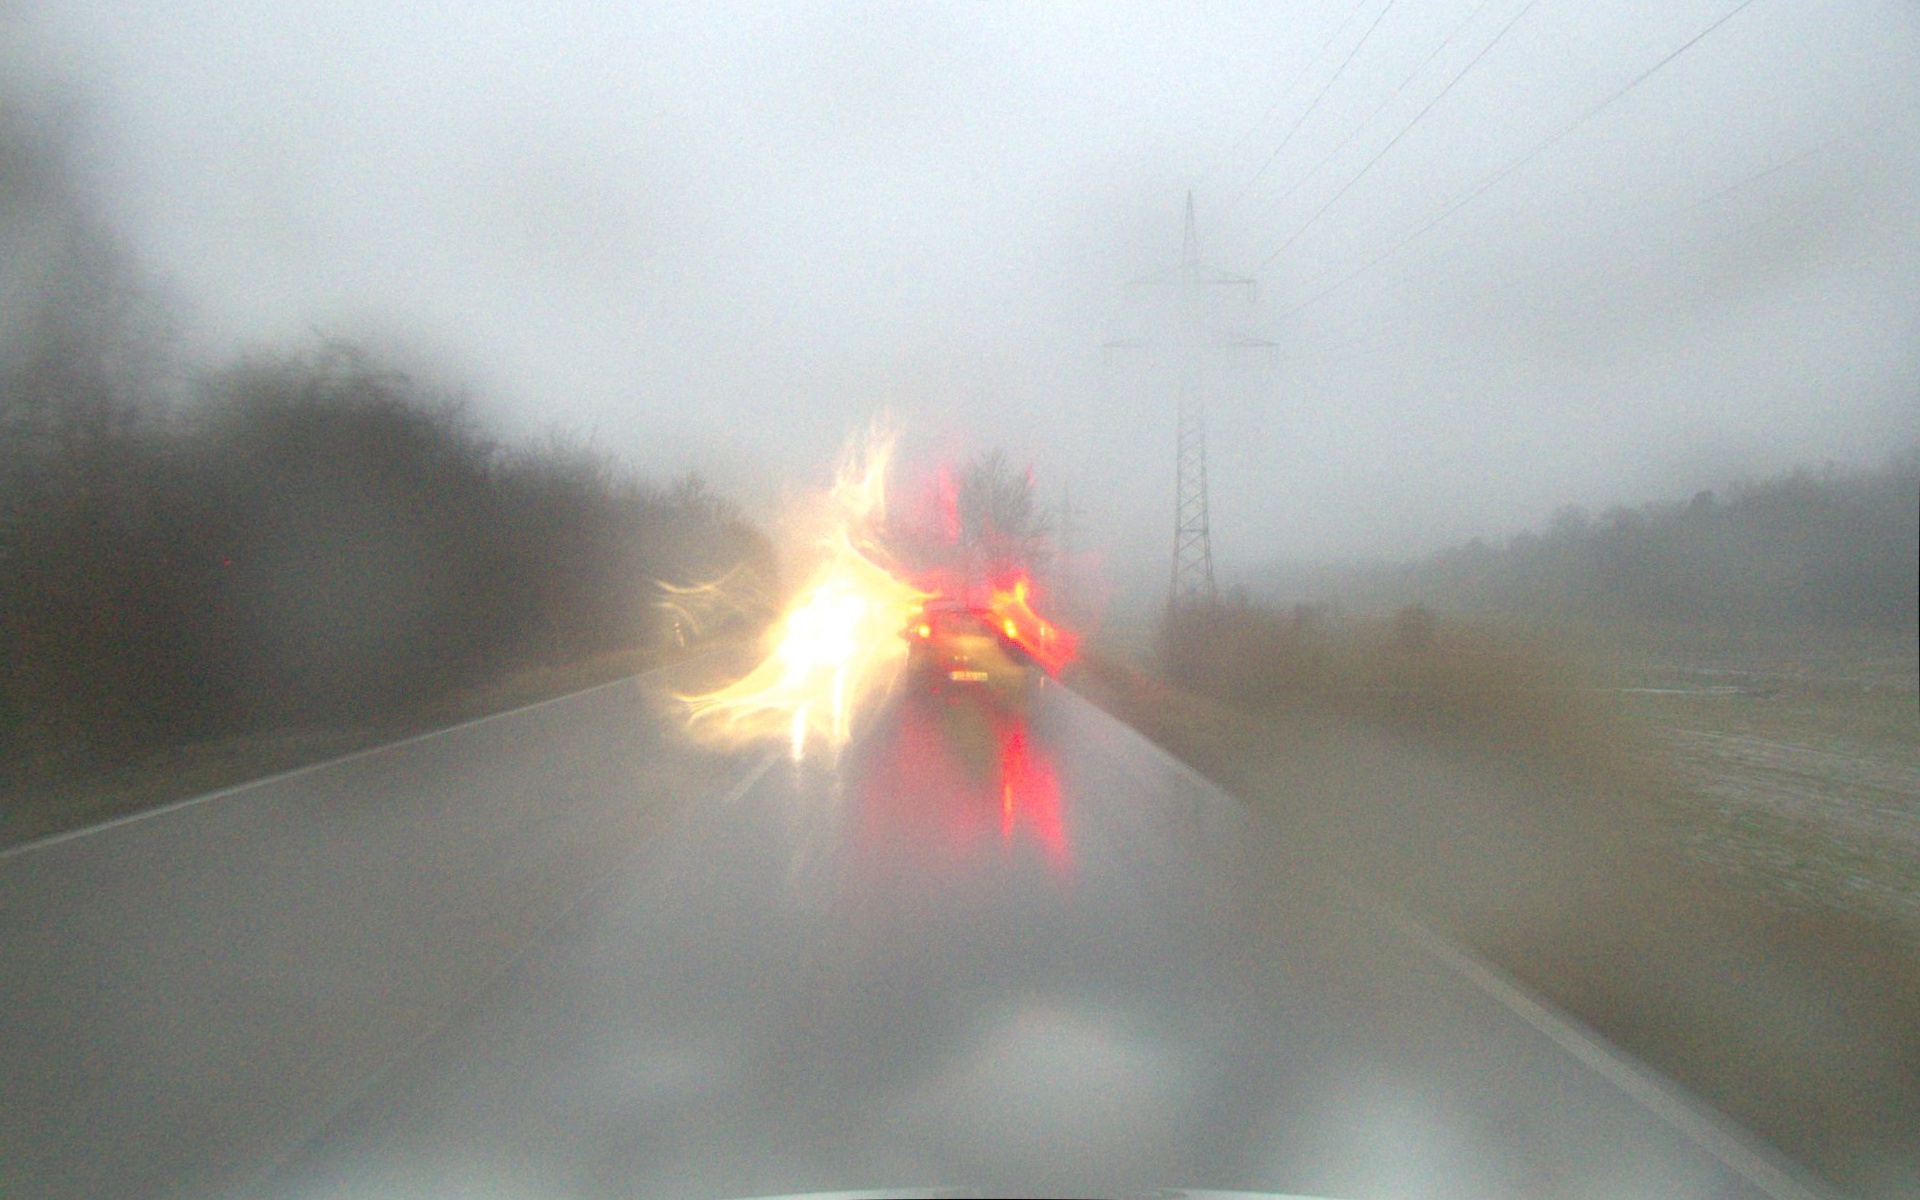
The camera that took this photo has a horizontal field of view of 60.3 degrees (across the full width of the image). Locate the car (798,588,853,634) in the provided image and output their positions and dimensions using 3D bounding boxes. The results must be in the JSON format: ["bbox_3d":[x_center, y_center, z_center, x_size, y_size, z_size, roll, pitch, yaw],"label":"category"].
[{"bbox_3d":[-4.696,0.365,58.232,1.654,1.533,4.412,1,0,-1],"label":"car"}]

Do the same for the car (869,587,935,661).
[{"bbox_3d":[-1.668,0.679,48.547,1.815,2.049,3.999,1,0,-1],"label":"car"}]

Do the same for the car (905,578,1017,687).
[{"bbox_3d":[-0.020,0.428,23.494,1.470,1.423,3.199,1,0,-1],"label":"car"}]

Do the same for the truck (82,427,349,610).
[{"bbox_3d":[-29.168,-2.860,66.248,3.687,6.398,15.736,1,0,-1],"label":"truck"}]

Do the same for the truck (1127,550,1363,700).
[{"bbox_3d":[5.572,0.443,34.523,2.454,2.616,10.798,1,0,-3],"label":"truck"}]
